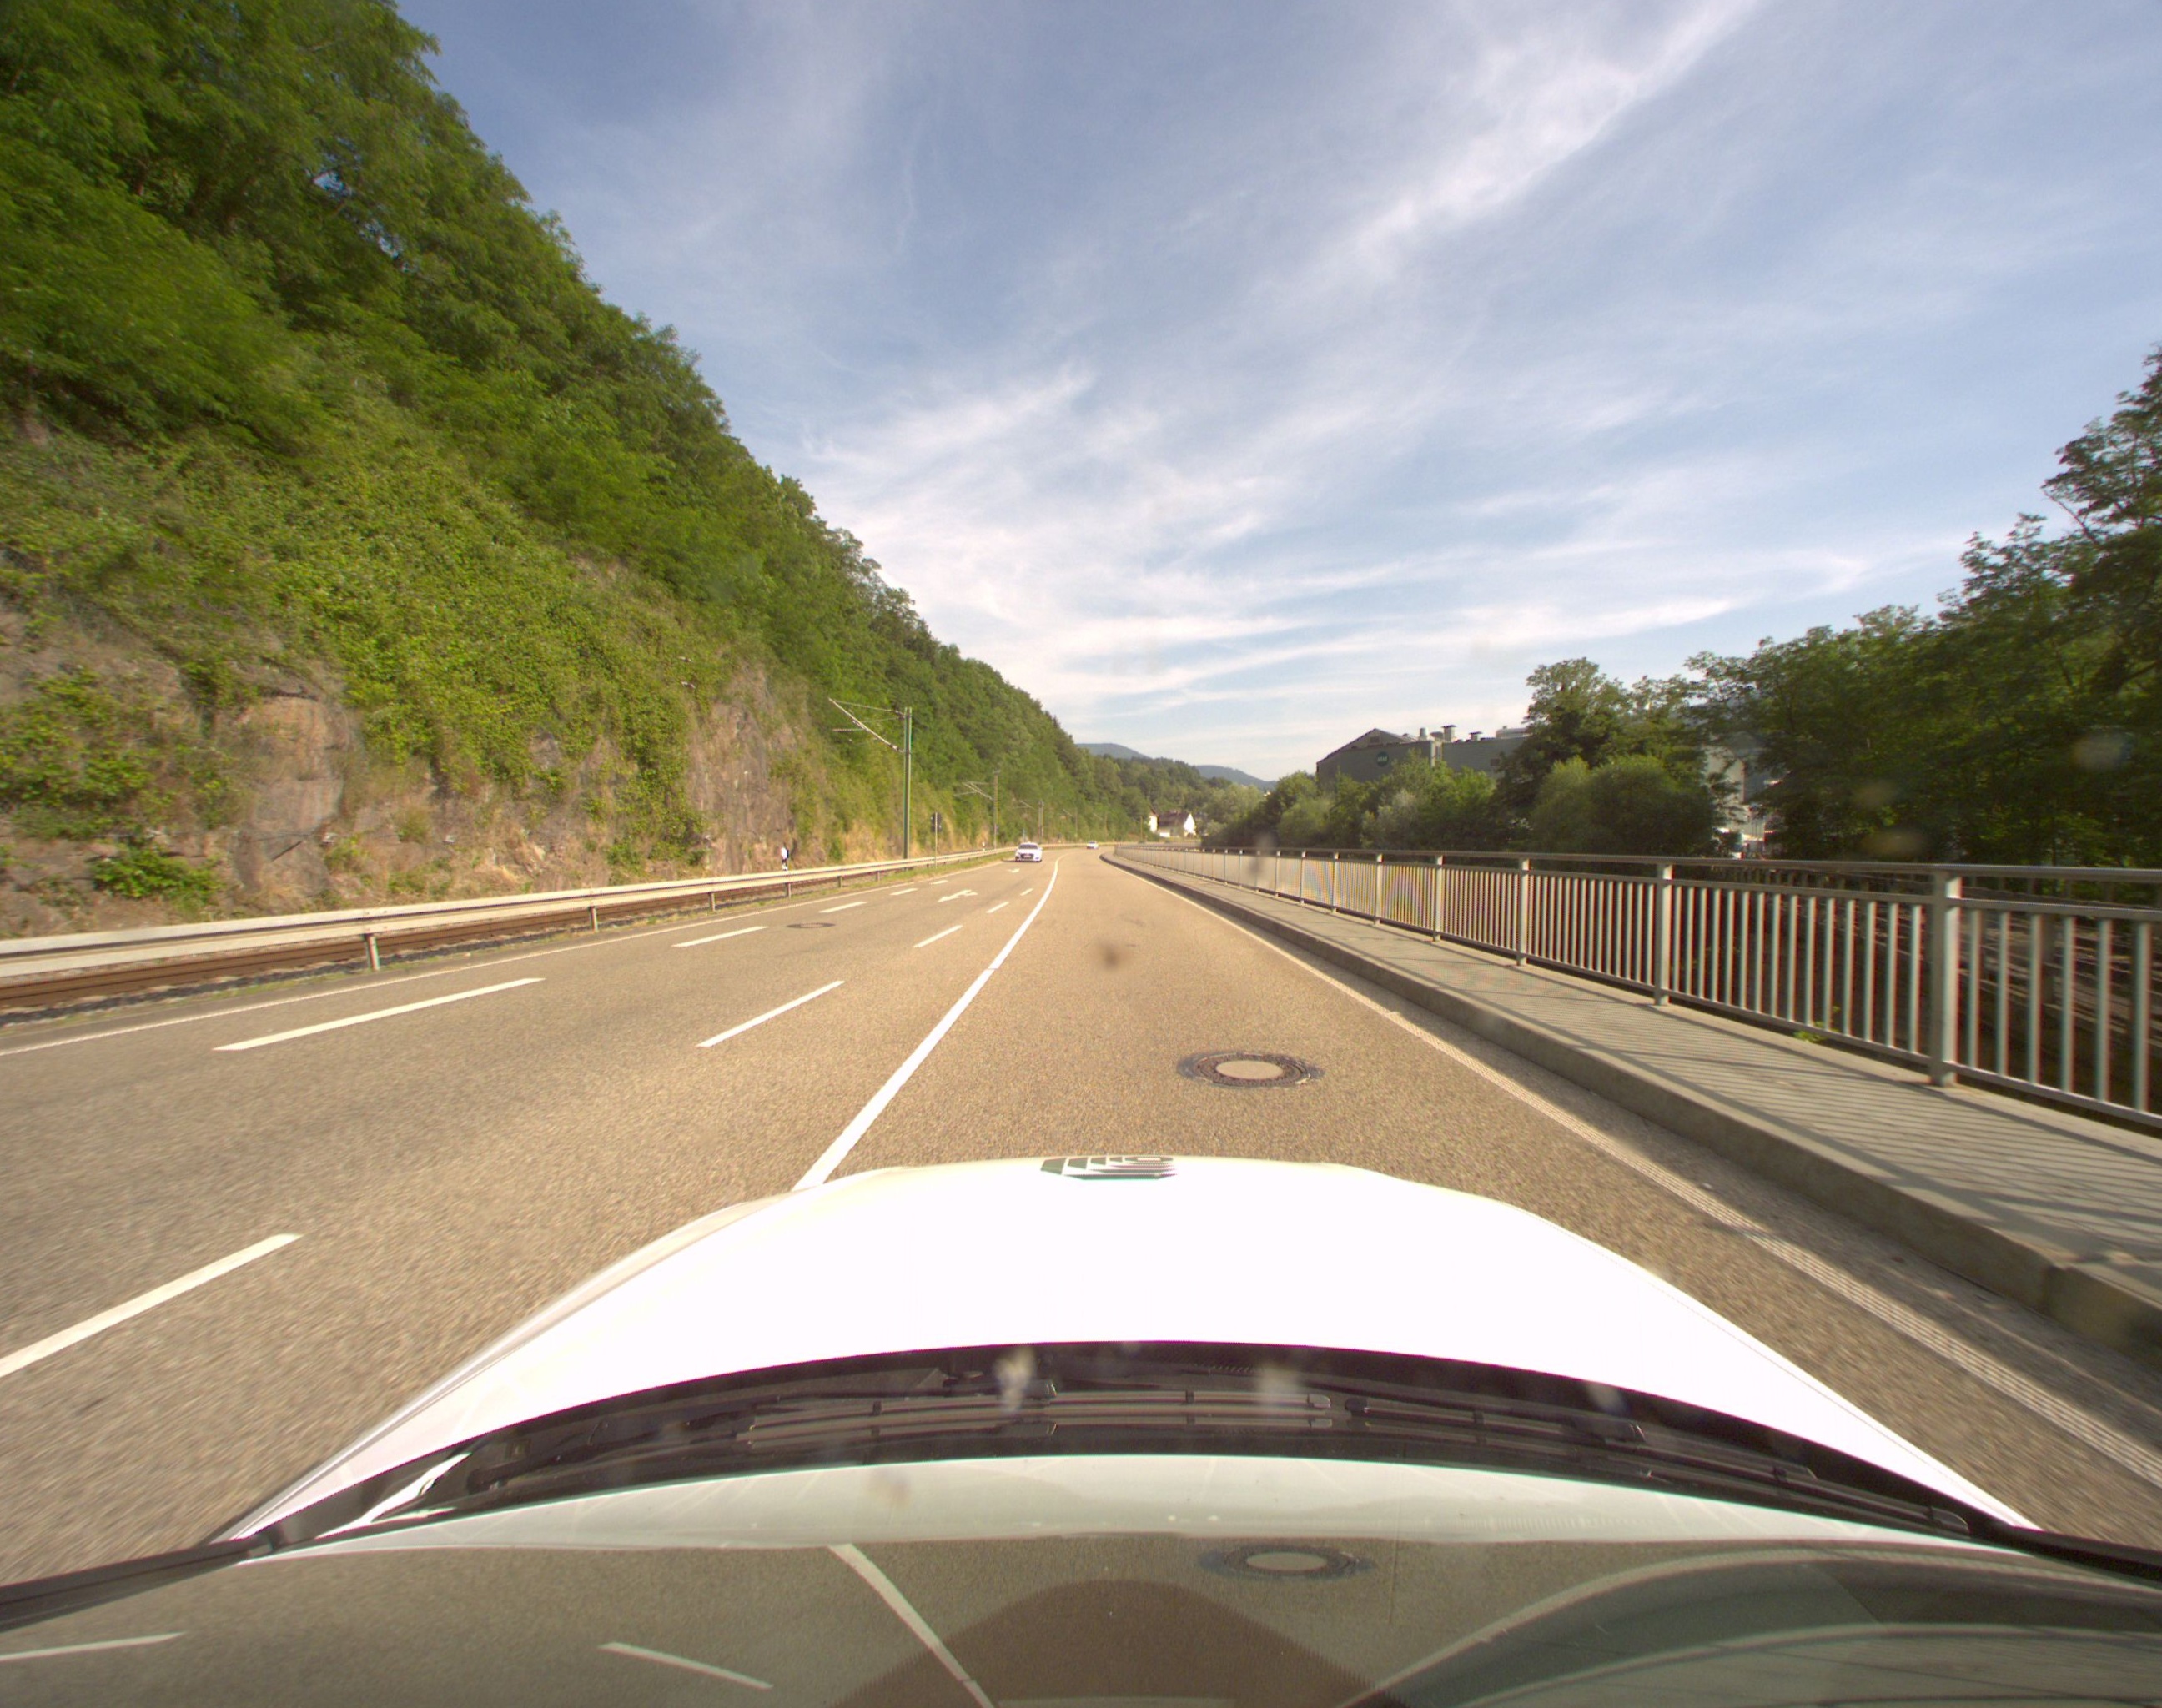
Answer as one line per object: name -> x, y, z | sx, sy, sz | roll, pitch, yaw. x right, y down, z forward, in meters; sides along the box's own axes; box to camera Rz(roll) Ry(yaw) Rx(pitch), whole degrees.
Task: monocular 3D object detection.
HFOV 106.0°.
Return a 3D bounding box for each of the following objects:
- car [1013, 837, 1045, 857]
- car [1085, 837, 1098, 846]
car -> -3.944, -0.564, 62.279 | 2.056, 1.439, 4.687 | 1, 1, 1
car -> 2.081, -2.389, 156.147 | 1.837, 1.544, 4.614 | -1, 1, 8
